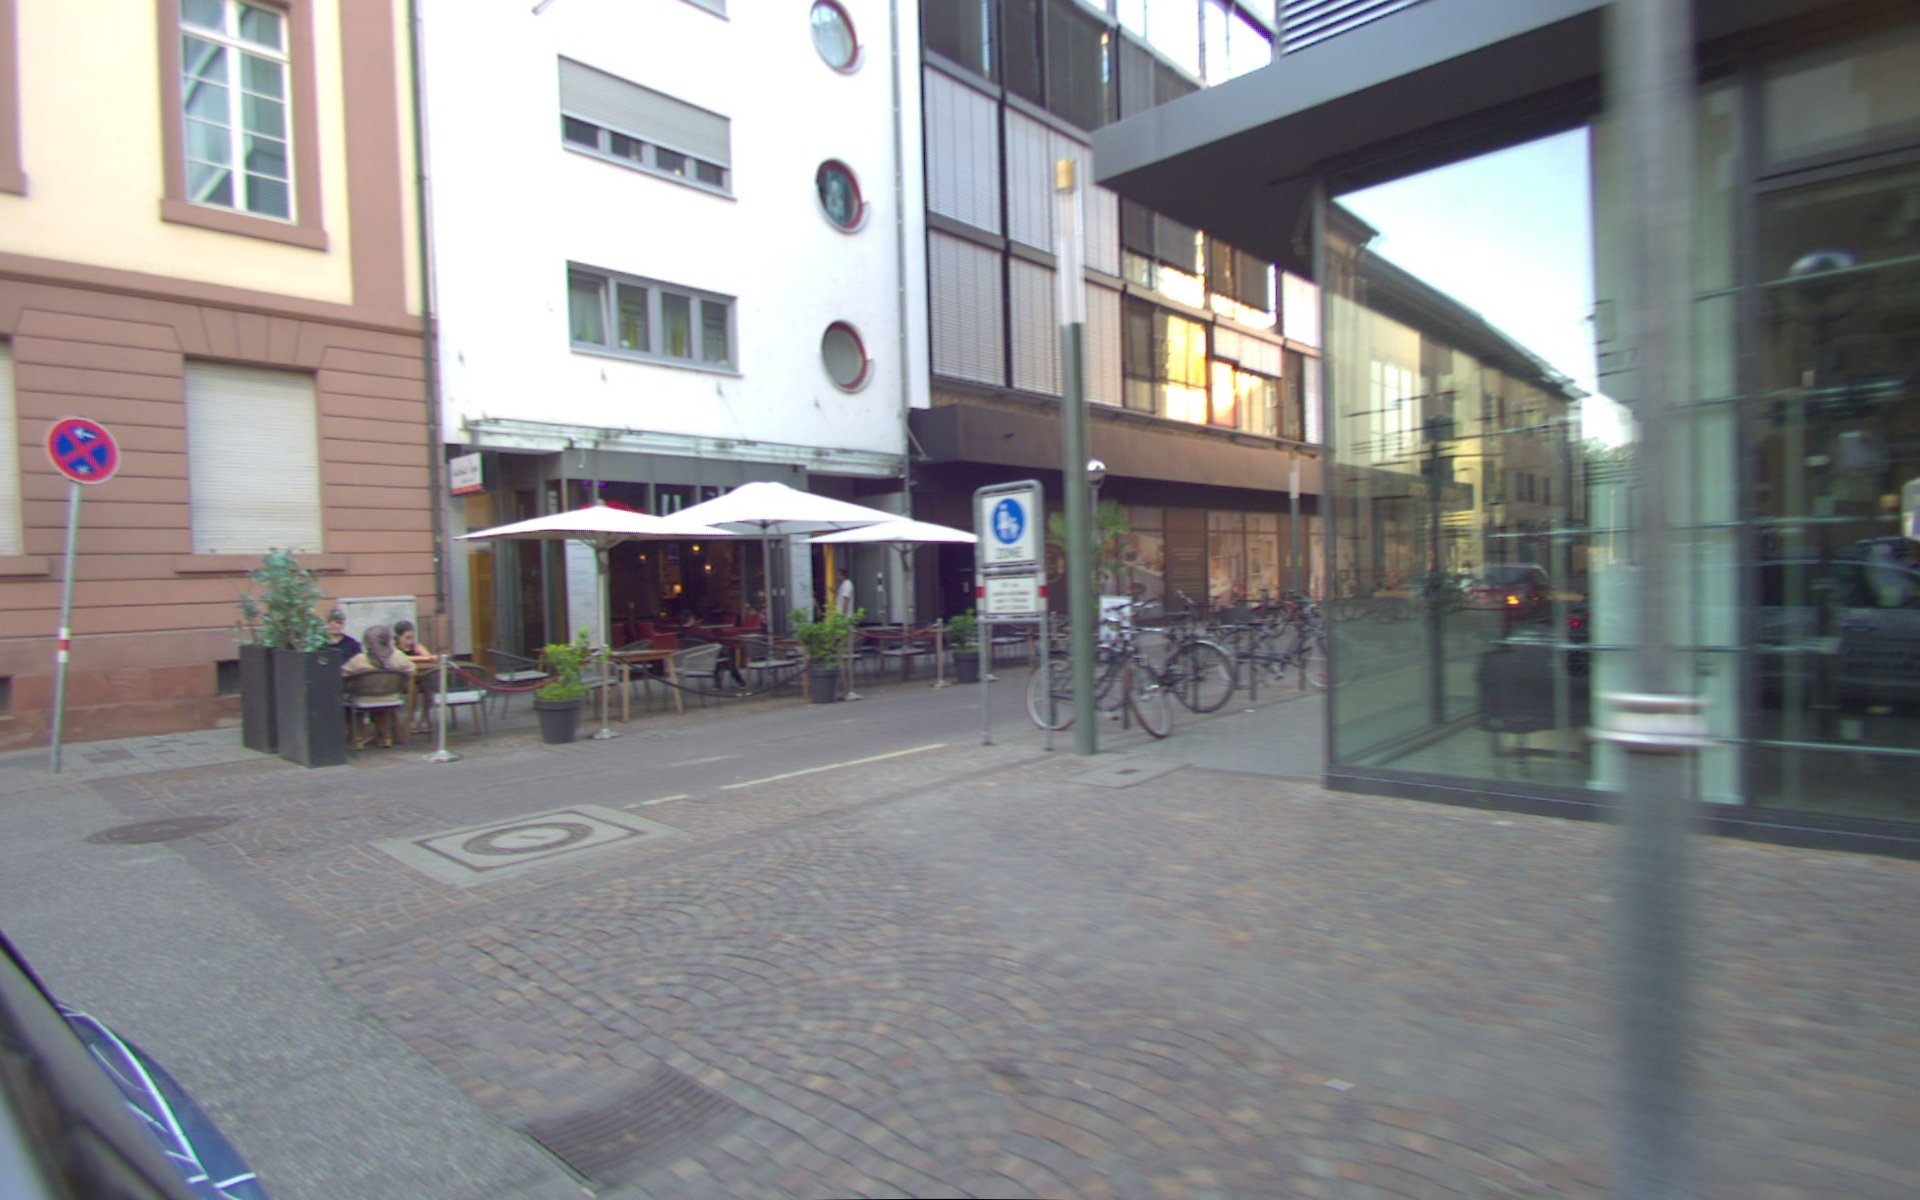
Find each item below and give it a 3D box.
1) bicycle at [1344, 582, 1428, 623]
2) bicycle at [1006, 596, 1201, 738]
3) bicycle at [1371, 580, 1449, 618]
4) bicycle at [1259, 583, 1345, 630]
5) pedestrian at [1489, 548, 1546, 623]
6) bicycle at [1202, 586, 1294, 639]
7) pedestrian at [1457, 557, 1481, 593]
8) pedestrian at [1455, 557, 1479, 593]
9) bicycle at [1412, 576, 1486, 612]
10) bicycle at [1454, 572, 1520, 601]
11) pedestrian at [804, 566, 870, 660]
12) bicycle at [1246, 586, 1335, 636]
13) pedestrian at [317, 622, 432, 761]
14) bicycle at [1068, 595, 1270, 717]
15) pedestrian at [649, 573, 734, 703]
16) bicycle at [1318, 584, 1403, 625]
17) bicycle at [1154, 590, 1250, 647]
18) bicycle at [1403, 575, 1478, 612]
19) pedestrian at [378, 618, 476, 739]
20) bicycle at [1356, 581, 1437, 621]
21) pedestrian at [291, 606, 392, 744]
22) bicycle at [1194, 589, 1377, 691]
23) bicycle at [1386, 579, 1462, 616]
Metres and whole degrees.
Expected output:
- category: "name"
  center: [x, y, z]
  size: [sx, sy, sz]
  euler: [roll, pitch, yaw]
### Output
- category: "bicycle"
  center: [11.508, 0.052, 27.413]
  size: [2.054, 1.024, 0.460]
  euler: [2, 3, 43]
- category: "bicycle"
  center: [1.241, 0.593, 9.024]
  size: [1.702, 1.145, 0.460]
  euler: [-4, -1, 43]
- category: "bicycle"
  center: [13.121, -0.046, 29.559]
  size: [2.054, 1.057, 0.460]
  euler: [2, 3, 43]
- category: "bicycle"
  center: [8.319, 0.145, 24.677]
  size: [1.953, 1.082, 0.460]
  euler: [2, 3, 43]
- category: "pedestrian"
  center: [12.736, -0.330, 23.106]
  size: [0.902, 1.673, 0.917]
  euler: [-1, 1, 44]
- category: "bicycle"
  center: [6.361, 0.253, 22.446]
  size: [1.953, 1.082, 0.460]
  euler: [2, 3, 43]
- category: "pedestrian"
  center: [27.070, -1.348, 53.810]
  size: [0.907, 1.873, 0.824]
  euler: [-1, 1, 43]
- category: "pedestrian"
  center: [26.681, -1.327, 53.232]
  size: [0.907, 1.873, 0.824]
  euler: [-1, 1, 43]
- category: "bicycle"
  center: [15.448, -0.208, 32.012]
  size: [2.054, 1.103, 0.460]
  euler: [2, 3, 43]
- category: "bicycle"
  center: [19.062, -0.507, 36.652]
  size: [2.054, 1.020, 0.460]
  euler: [2, 3, 43]
- category: "pedestrian"
  center: [-2.251, 0.236, 18.552]
  size: [0.854, 1.671, 0.793]
  euler: [-2, 1, 26]
- category: "bicycle"
  center: [7.678, 0.235, 23.545]
  size: [1.953, 1.082, 0.460]
  euler: [2, 3, 43]
- category: "pedestrian"
  center: [-5.515, 0.827, 9.535]
  size: [0.791, 1.192, 0.665]
  euler: [1, 2, 37]
- category: "bicycle"
  center: [2.087, 0.576, 10.359]
  size: [2.016, 1.130, 0.460]
  euler: [-4, -1, 43]
- category: "pedestrian"
  center: [-3.605, 0.493, 13.600]
  size: [0.791, 1.661, 0.716]
  euler: [-2, 1, 37]
- category: "bicycle"
  center: [10.522, 0.099, 26.635]
  size: [2.054, 1.024, 0.460]
  euler: [2, 3, 43]
- category: "bicycle"
  center: [4.979, 0.358, 20.939]
  size: [1.953, 1.082, 0.460]
  euler: [2, 3, 43]
- category: "bicycle"
  center: [14.867, -0.212, 31.335]
  size: [2.054, 1.103, 0.460]
  euler: [2, 3, 43]
- category: "pedestrian"
  center: [-5.691, 0.809, 10.813]
  size: [0.792, 1.192, 0.664]
  euler: [1, 2, 41]
- category: "bicycle"
  center: [12.309, 0.018, 28.599]
  size: [2.054, 1.057, 0.460]
  euler: [2, 3, 43]
- category: "pedestrian"
  center: [-6.464, 0.751, 10.576]
  size: [0.792, 1.341, 0.664]
  euler: [1, 2, 41]
- category: "bicycle"
  center: [3.873, 0.494, 12.183]
  size: [2.040, 1.130, 0.460]
  euler: [-4, -1, 43]
- category: "bicycle"
  center: [13.978, -0.098, 30.532]
  size: [2.054, 1.057, 0.460]
  euler: [2, 3, 43]
